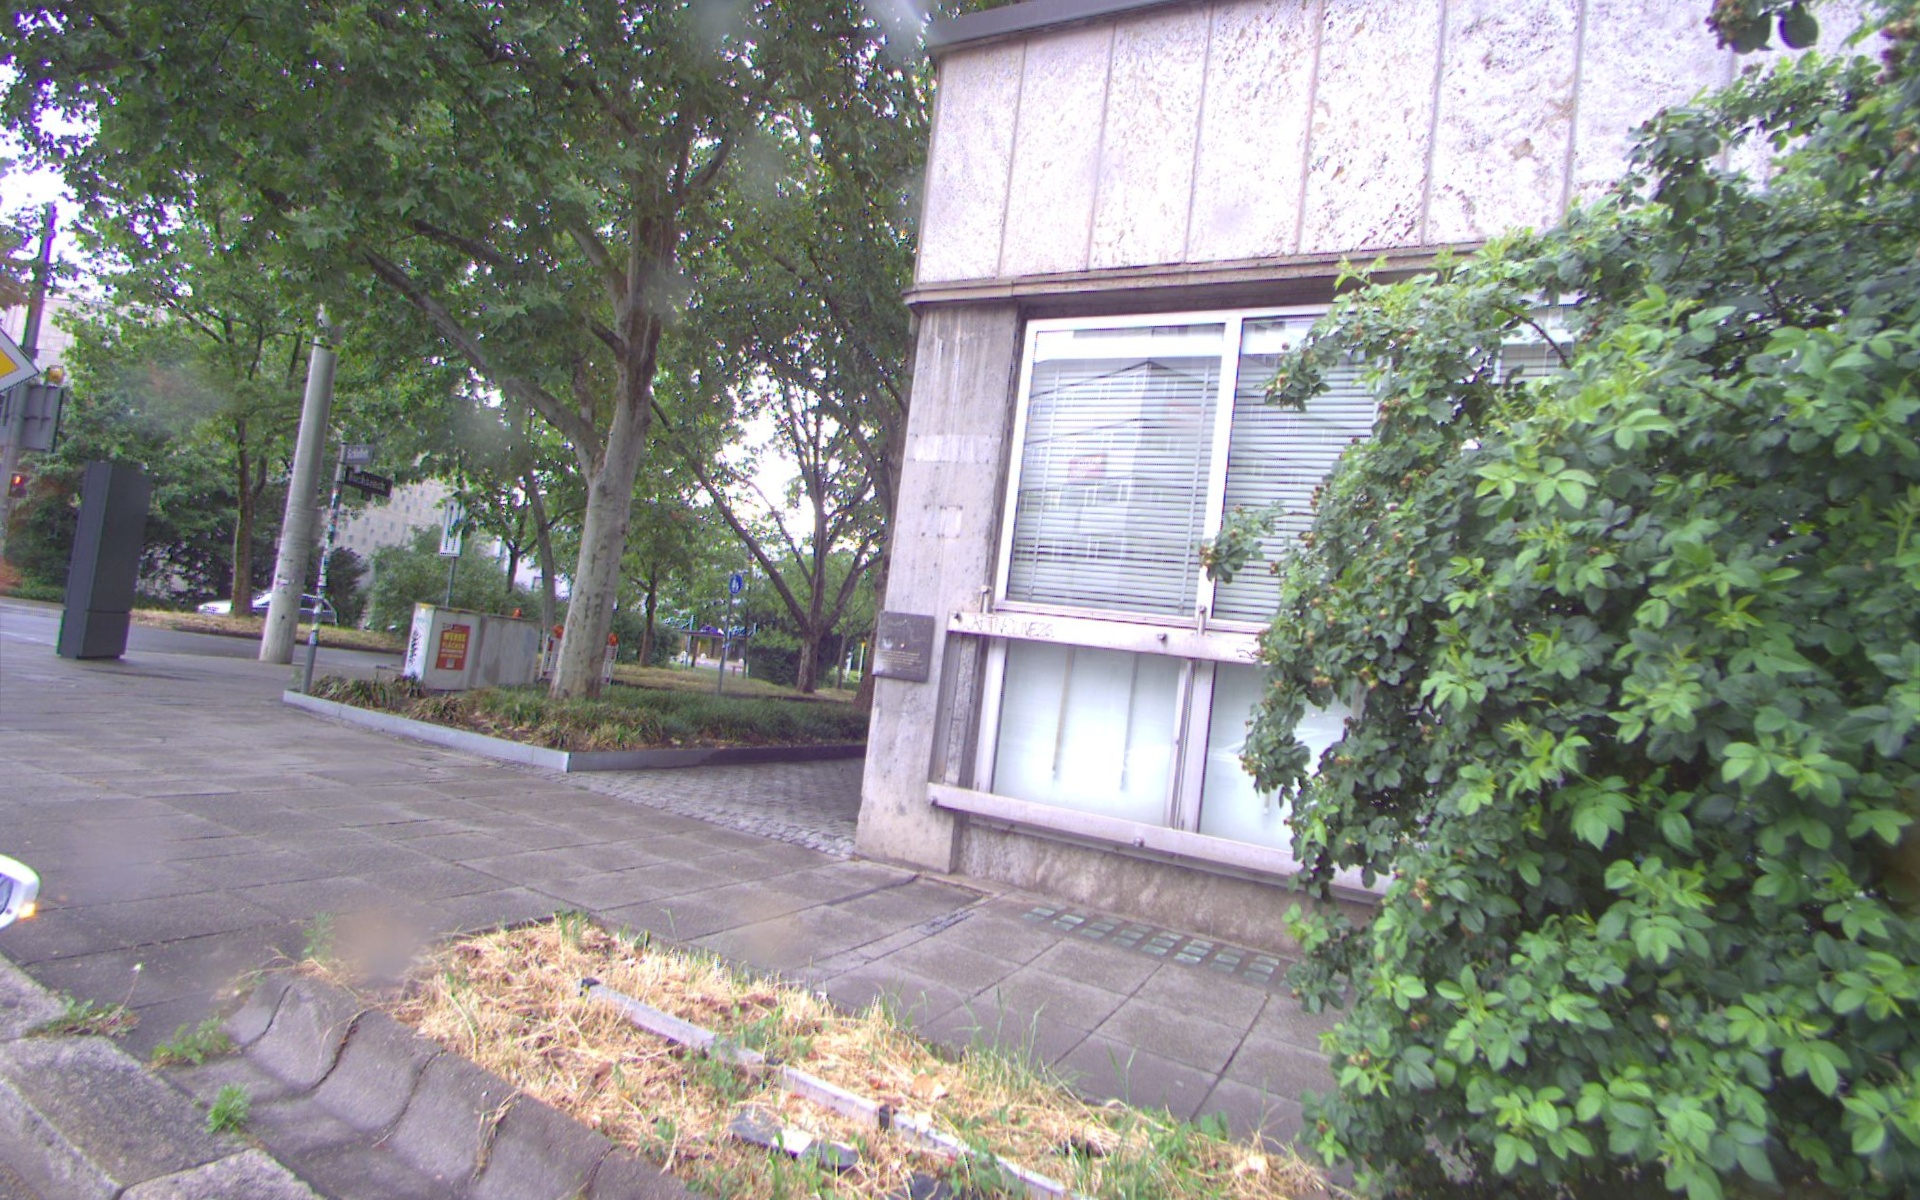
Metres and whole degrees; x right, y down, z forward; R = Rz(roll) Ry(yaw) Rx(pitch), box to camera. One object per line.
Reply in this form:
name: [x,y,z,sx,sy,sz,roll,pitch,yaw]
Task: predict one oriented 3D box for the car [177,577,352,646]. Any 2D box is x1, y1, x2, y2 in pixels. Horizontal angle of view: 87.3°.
car: [-21.956,0.413,31.929,1.964,1.456,4.007,6,-6,25]
